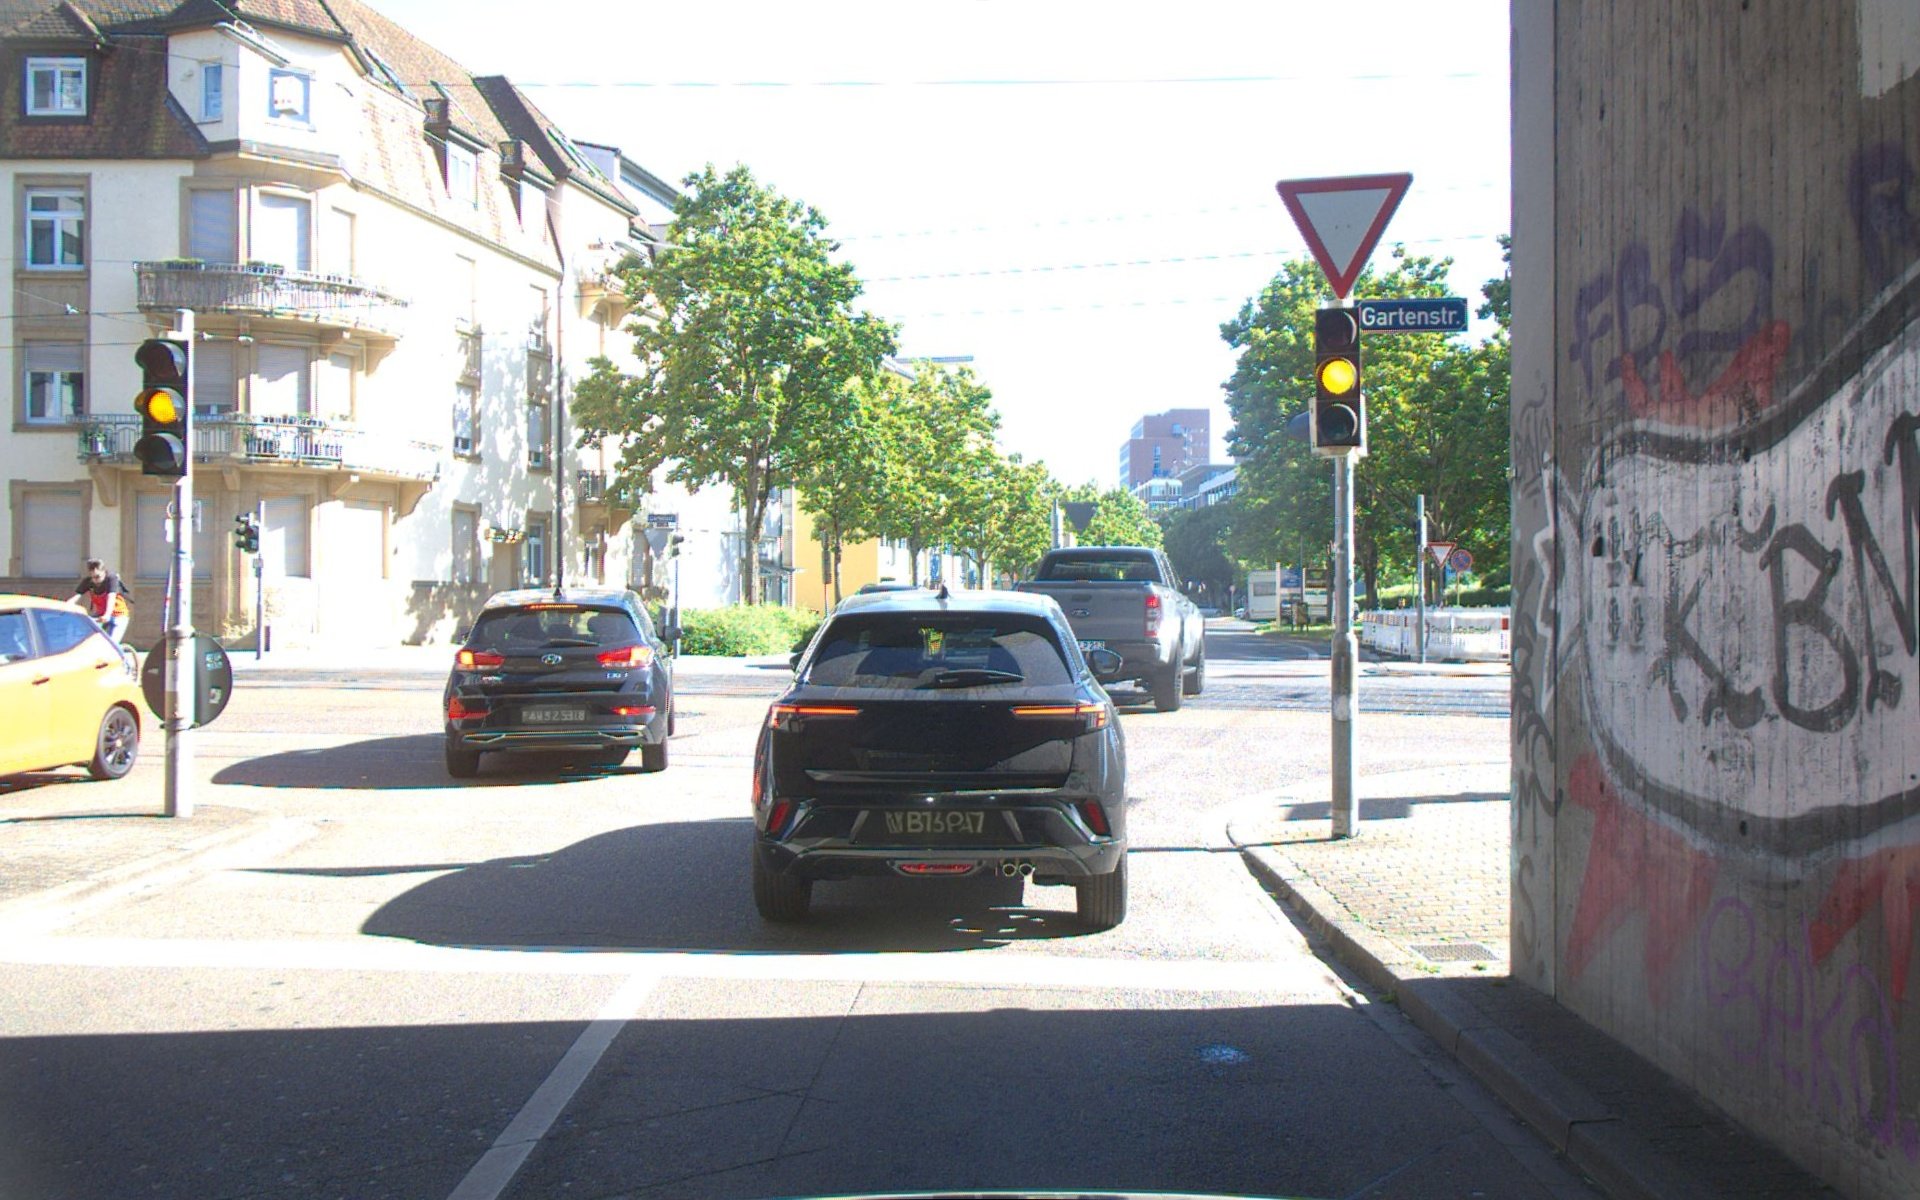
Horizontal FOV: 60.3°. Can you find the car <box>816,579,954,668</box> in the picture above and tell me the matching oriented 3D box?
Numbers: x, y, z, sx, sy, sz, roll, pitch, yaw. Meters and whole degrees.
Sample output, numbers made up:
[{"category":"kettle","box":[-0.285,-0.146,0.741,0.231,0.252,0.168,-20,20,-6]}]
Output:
[{"category":"car","box":[-1.323,0.396,30.876,1.750,1.540,4.120,0,0,9]}]

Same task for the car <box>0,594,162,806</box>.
[{"category":"car","box":[-7.452,0.702,11.820,1.622,1.466,3.465,0,0,4]}]

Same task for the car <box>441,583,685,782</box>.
[{"category":"car","box":[-3.381,0.612,14.788,1.768,1.476,4.317,-1,0,-9]}]

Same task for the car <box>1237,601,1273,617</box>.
[{"category":"car","box":[27.377,0.824,153.424,3.175,1.300,1.517,-3,-1,10]}]

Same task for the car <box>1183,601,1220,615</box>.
[{"category":"car","box":[26.858,0.875,183.981,3.865,1.421,1.517,-3,-1,2]}]

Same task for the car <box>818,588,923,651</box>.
[{"category":"car","box":[-2.403,0.497,45.517,1.844,1.638,4.152,0,0,12]}]

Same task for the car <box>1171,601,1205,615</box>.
[{"category":"car","box":[27.435,0.935,199.005,3.865,1.421,1.517,-3,-1,2]}]

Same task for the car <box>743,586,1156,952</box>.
[{"category":"car","box":[-0.026,0.707,8.886,1.745,1.544,3.755,0,0,0]}]

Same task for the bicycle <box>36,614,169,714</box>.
[{"category":"bicycle","box":[-10.645,0.771,20.616,0.530,1.142,2.059,0,0,2]}]

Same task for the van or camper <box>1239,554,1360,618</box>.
[{"category":"van or camper","box":[17.749,-0.706,86.728,5.949,2.980,2.577,-3,-1,10]}]

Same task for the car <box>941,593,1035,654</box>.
[{"category":"car","box":[0.763,0.572,42.500,1.671,1.477,3.854,0,0,13]}]

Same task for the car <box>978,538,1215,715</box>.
[{"category":"car","box":[1.806,0.274,20.057,2.087,1.867,4.944,0,0,14]}]

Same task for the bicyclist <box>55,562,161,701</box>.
[{"category":"bicyclist","box":[-10.630,0.385,20.664,0.766,1.689,1.031,0,0,1]}]
